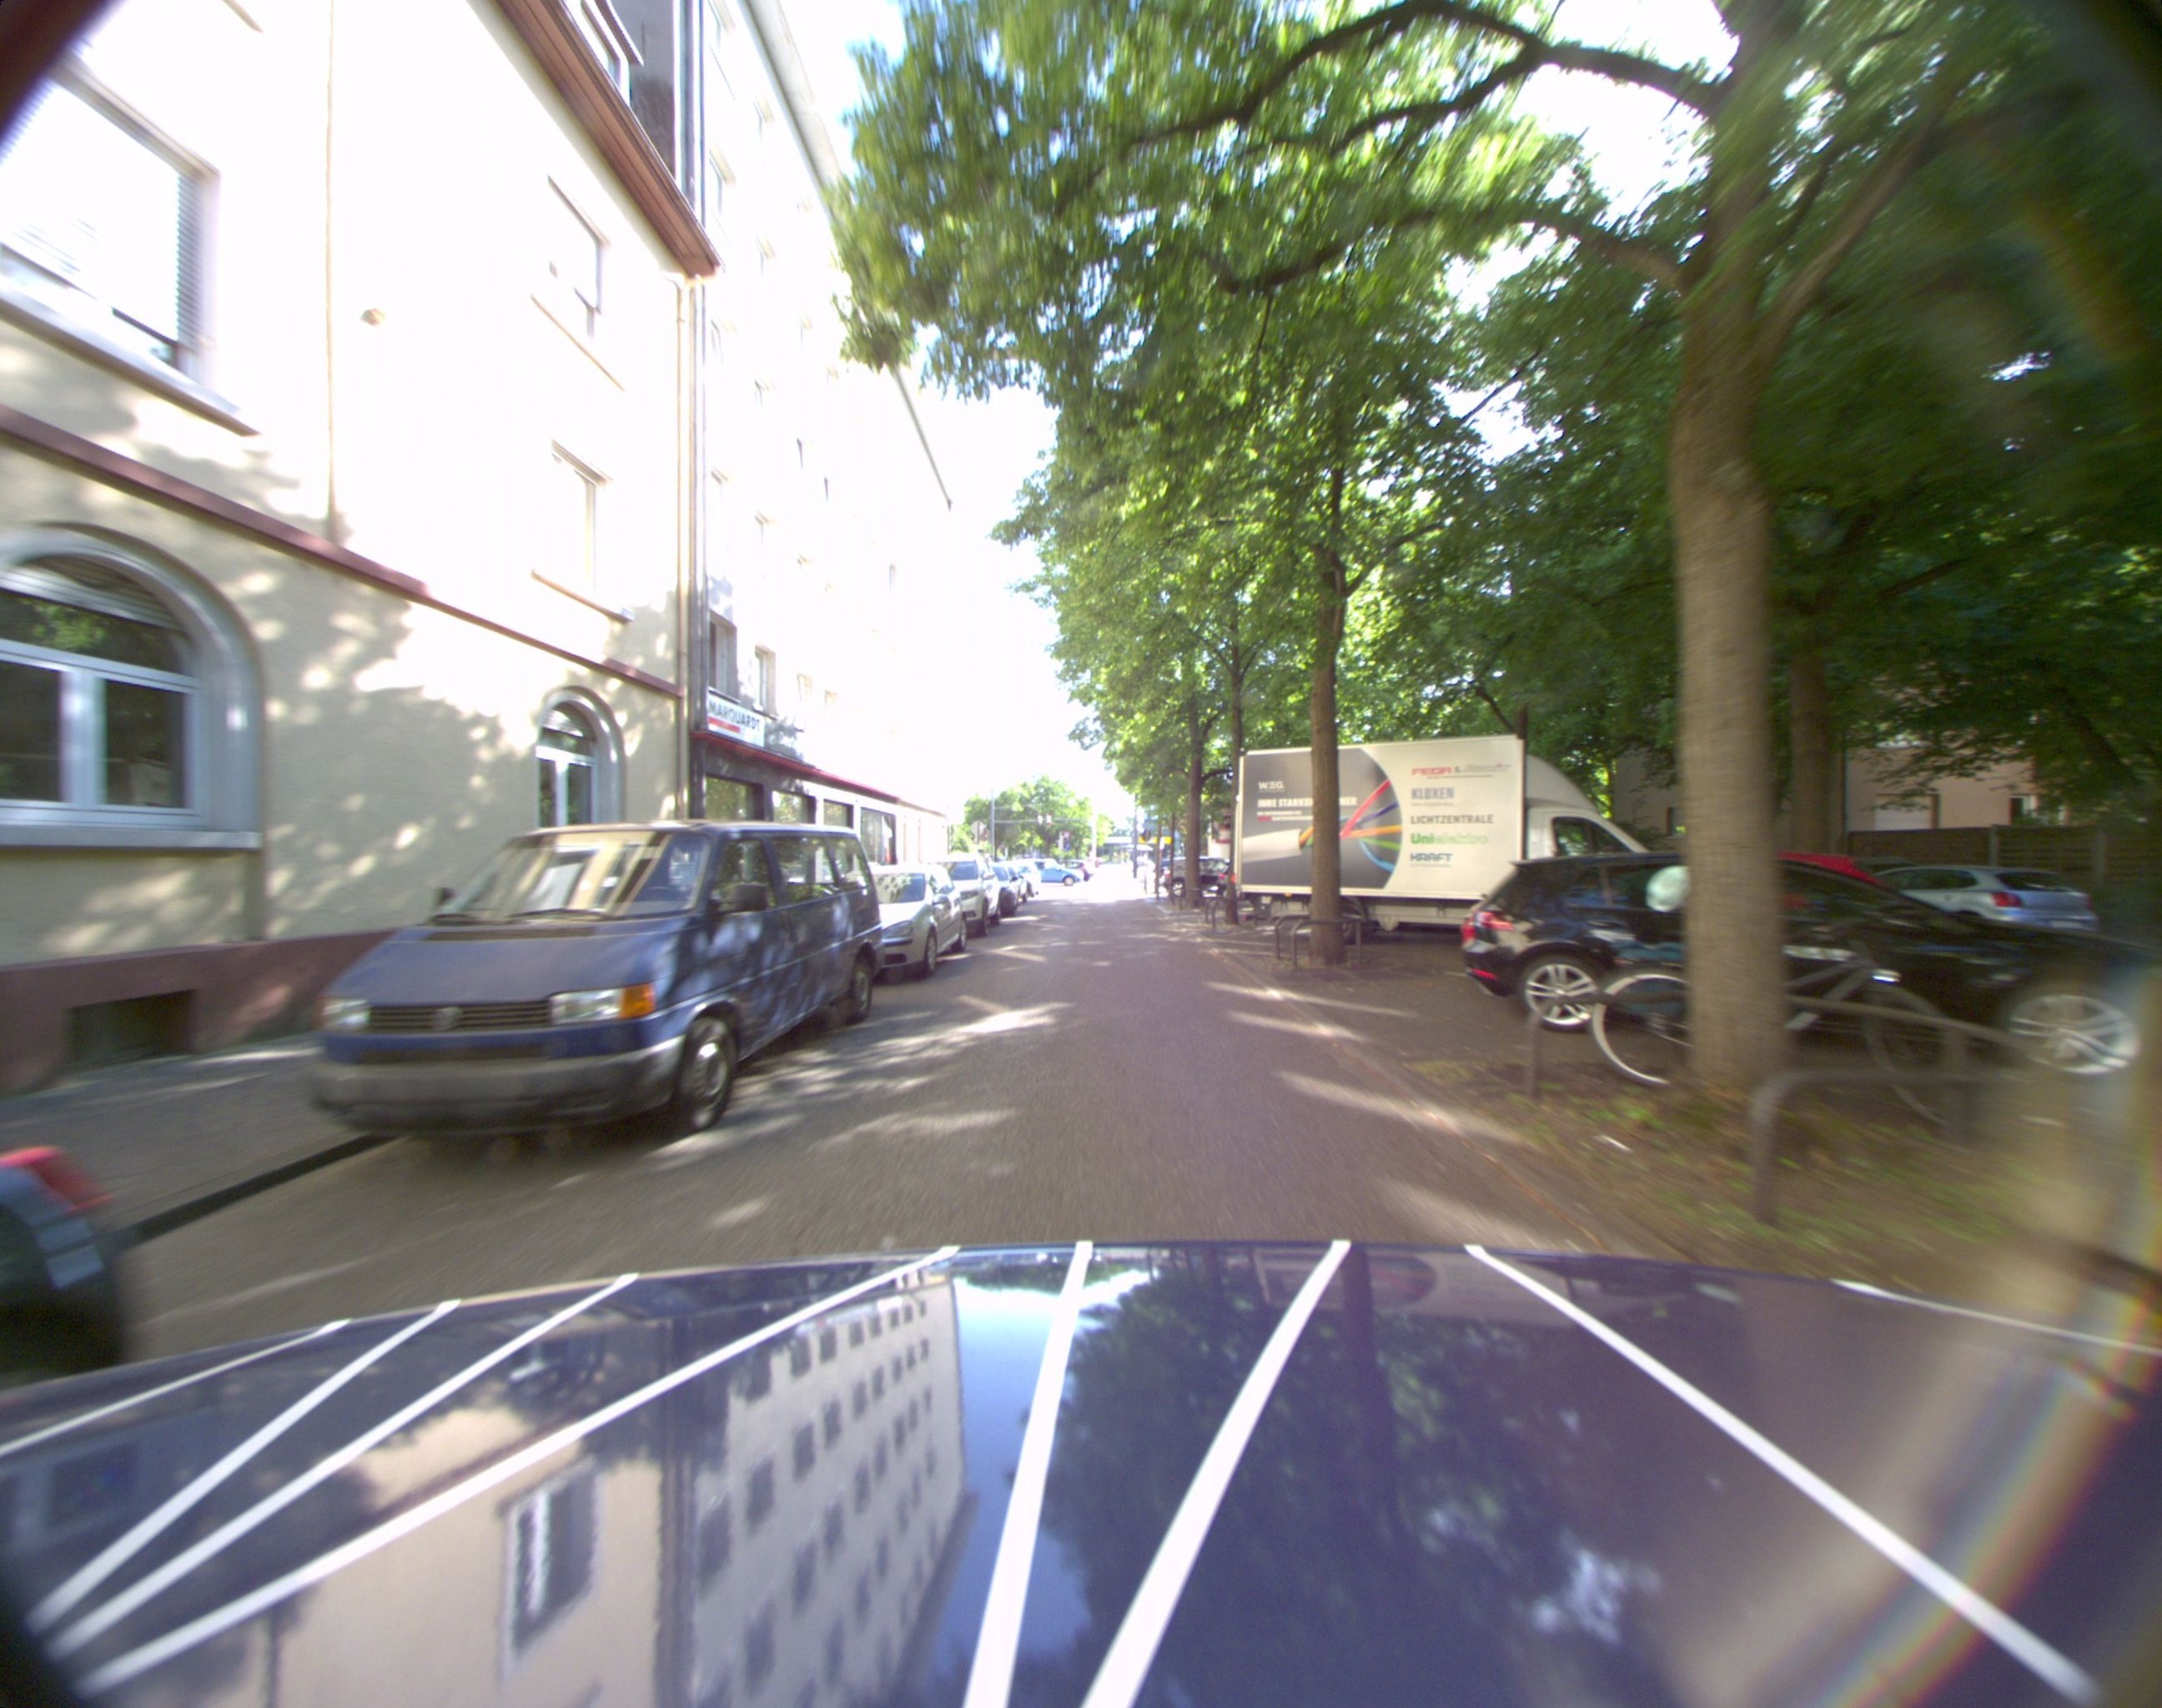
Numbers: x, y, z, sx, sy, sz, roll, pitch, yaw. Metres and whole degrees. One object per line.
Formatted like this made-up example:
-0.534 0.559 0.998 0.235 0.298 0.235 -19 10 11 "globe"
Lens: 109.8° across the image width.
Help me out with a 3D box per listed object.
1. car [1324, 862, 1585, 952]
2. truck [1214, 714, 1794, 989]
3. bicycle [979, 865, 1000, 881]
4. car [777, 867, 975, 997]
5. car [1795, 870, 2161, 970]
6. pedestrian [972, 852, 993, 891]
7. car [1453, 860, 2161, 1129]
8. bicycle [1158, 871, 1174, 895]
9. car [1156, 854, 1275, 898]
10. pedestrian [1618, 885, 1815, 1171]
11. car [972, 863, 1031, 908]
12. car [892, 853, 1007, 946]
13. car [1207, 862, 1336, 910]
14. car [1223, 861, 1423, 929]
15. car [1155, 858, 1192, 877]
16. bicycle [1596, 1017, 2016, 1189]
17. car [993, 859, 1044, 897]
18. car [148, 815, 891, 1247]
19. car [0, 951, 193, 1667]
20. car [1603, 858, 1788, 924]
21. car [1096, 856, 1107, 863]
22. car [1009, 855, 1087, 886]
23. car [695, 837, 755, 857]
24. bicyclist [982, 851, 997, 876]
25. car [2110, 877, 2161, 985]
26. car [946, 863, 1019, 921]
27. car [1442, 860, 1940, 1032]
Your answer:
7.177 0.917 14.771 4.331 1.498 1.817 0 0 35 "car"
6.045 -0.040 12.060 7.304 3.274 2.552 0 0 32 "truck"
-5.869 1.185 48.648 0.830 0.980 1.943 0 0 -21 "bicycle"
-2.750 0.976 11.231 1.766 1.491 4.238 0 0 0 "car"
15.677 1.045 13.610 1.768 1.426 4.344 0 0 1 "car"
-4.342 0.767 33.656 0.760 1.712 0.746 0 0 7 "pedestrian"
5.241 0.814 5.850 4.097 1.497 1.737 -1 0 32 "car"
3.989 1.333 35.755 0.354 1.066 1.591 0 0 -10 "bicycle"
5.458 0.906 30.948 4.325 1.661 1.841 -2 -1 31 "car"
3.596 0.894 4.394 0.751 1.388 0.931 0 0 32 "pedestrian"
-2.722 1.044 26.692 1.600 1.454 3.673 0 0 2 "car"
-2.679 0.862 16.485 1.766 1.743 4.509 0 0 -1 "car"
6.261 1.001 25.038 3.813 1.472 1.765 0 0 29 "car"
5.900 0.920 18.716 4.331 1.498 1.817 0 0 35 "car"
7.515 1.073 61.426 1.679 1.499 3.603 -2 -1 29 "car"
3.794 1.293 4.152 1.610 0.555 0.410 0 0 32 "bicycle"
-2.641 0.986 32.697 1.723 1.488 4.023 0 0 2 "car"
-3.073 0.780 5.753 1.953 1.889 4.846 0 0 1 "car"
-3.093 0.993 0.160 1.626 1.489 3.594 0 0 -1 "car"
16.005 0.902 20.092 1.758 1.560 3.949 0 0 1 "car"
4.328 1.206 162.992 1.999 1.543 4.484 0 0 -2 "car"
-1.927 0.977 44.529 4.482 1.765 1.873 0 0 -1 "car"
-26.773 -0.475 57.273 1.871 1.447 4.488 0 0 9 "car"
-5.844 0.616 48.606 0.829 1.555 0.595 0 0 -21 "bicyclist"
15.499 1.052 8.558 1.769 1.426 4.341 2 0 -5 "car"
-2.730 1.022 21.966 1.807 1.454 4.439 0 0 -4 "car"
6.369 0.834 8.533 3.989 1.494 1.852 -1 0 32 "car"
